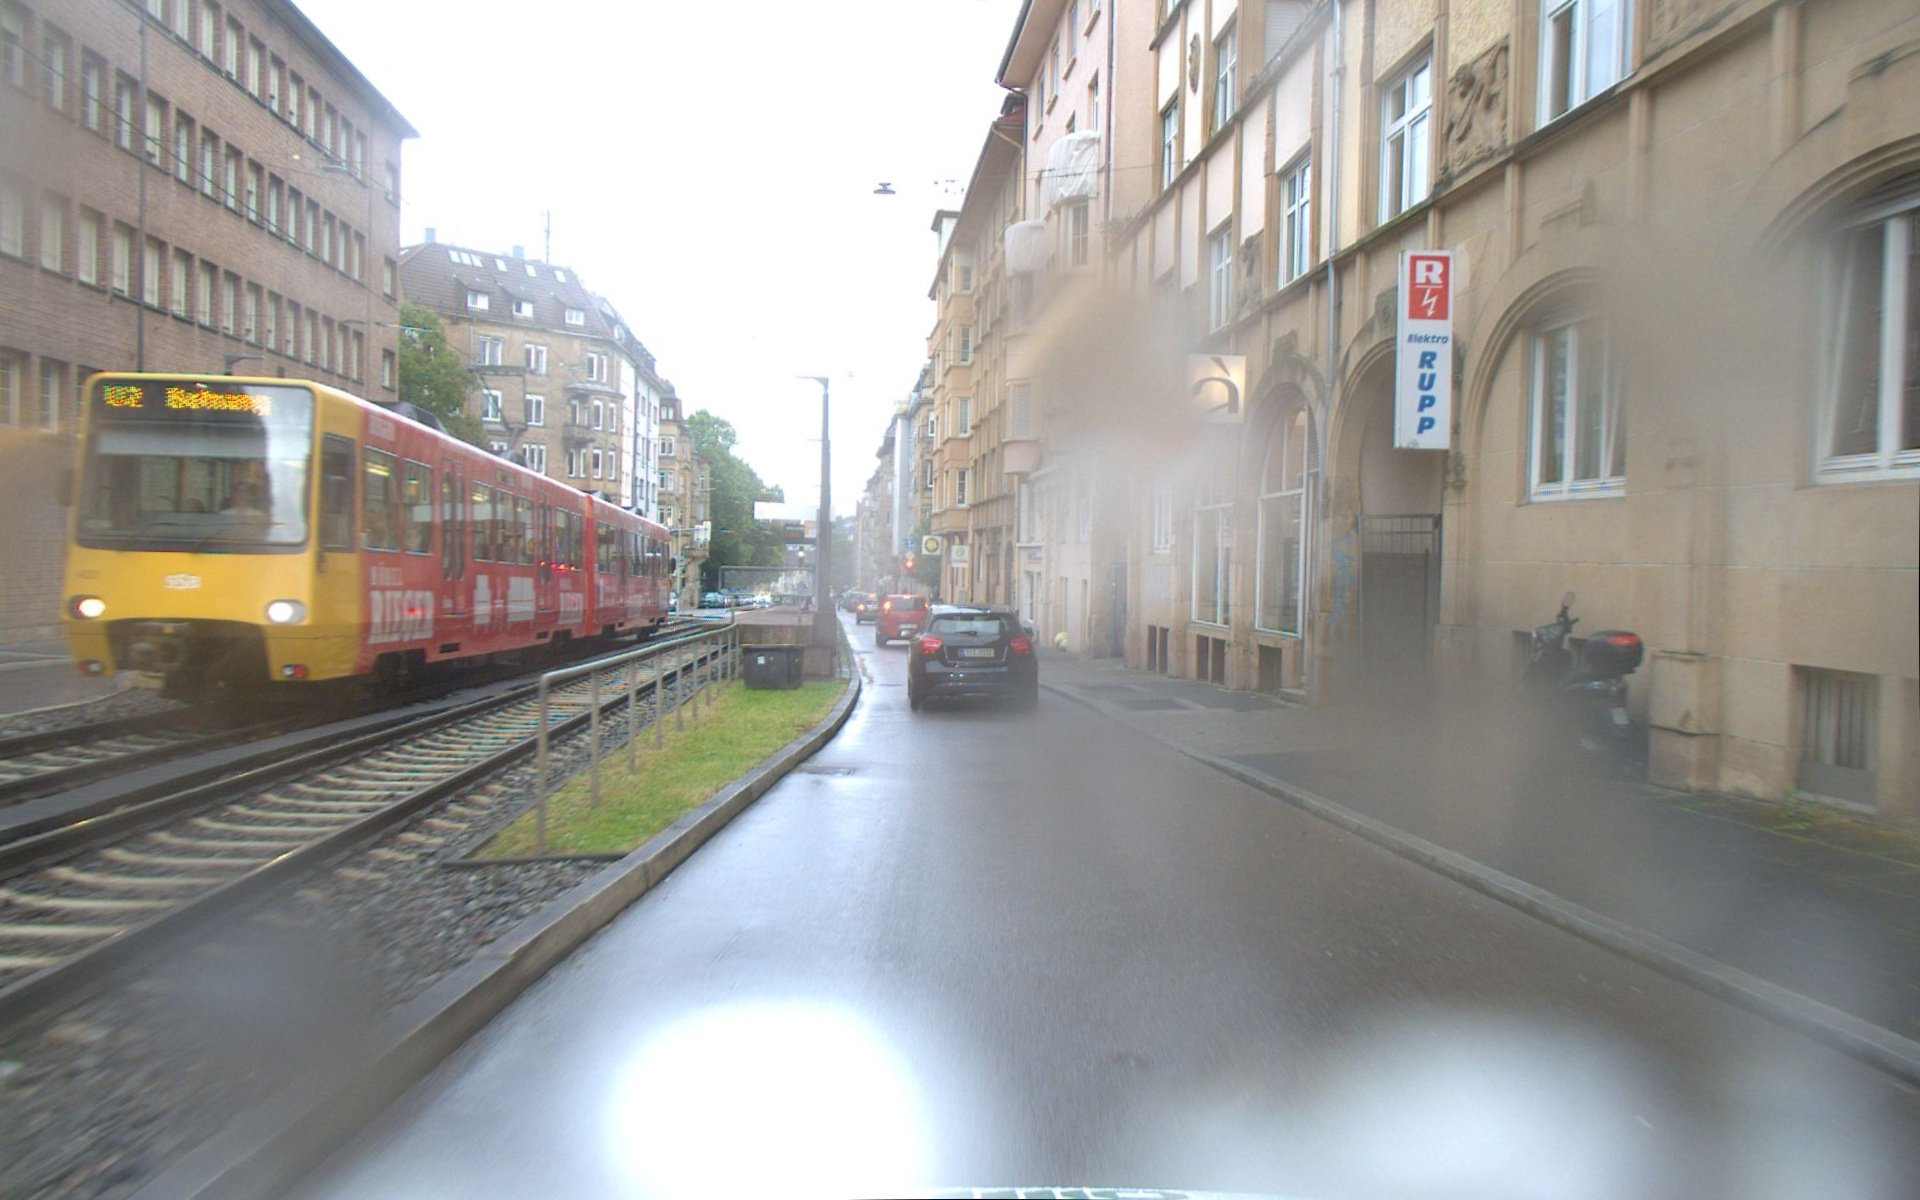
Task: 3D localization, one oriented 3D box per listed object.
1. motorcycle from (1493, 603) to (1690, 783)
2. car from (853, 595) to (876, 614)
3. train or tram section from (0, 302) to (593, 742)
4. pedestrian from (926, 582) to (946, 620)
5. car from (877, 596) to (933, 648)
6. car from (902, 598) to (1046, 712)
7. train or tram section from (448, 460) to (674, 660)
[{"bbox_3d":[4.921,0.683,13.031,0.677,1.259,1.777,-5,0,-4],"label":"motorcycle"},{"bbox_3d":[-7.788,0.365,134.870,1.731,1.586,4.741,0,0,-5],"label":"car"},{"bbox_3d":[-8.243,-0.677,24.834,2.662,3.989,19.278,1,0,-5],"label":"train or tram section"},{"bbox_3d":[-1.179,0.053,82.436,0.881,1.872,0.968,-3,0,-2],"label":"pedestrian"},{"bbox_3d":[-1.698,0.639,50.457,1.616,1.477,3.998,1,0,-3],"label":"car"},{"bbox_3d":[0.114,0.723,23.732,1.829,1.477,3.998,1,0,-3],"label":"car"},{"bbox_3d":[-9.735,-0.768,43.243,2.662,3.989,19.842,1,0,-5],"label":"train or tram section"}]
